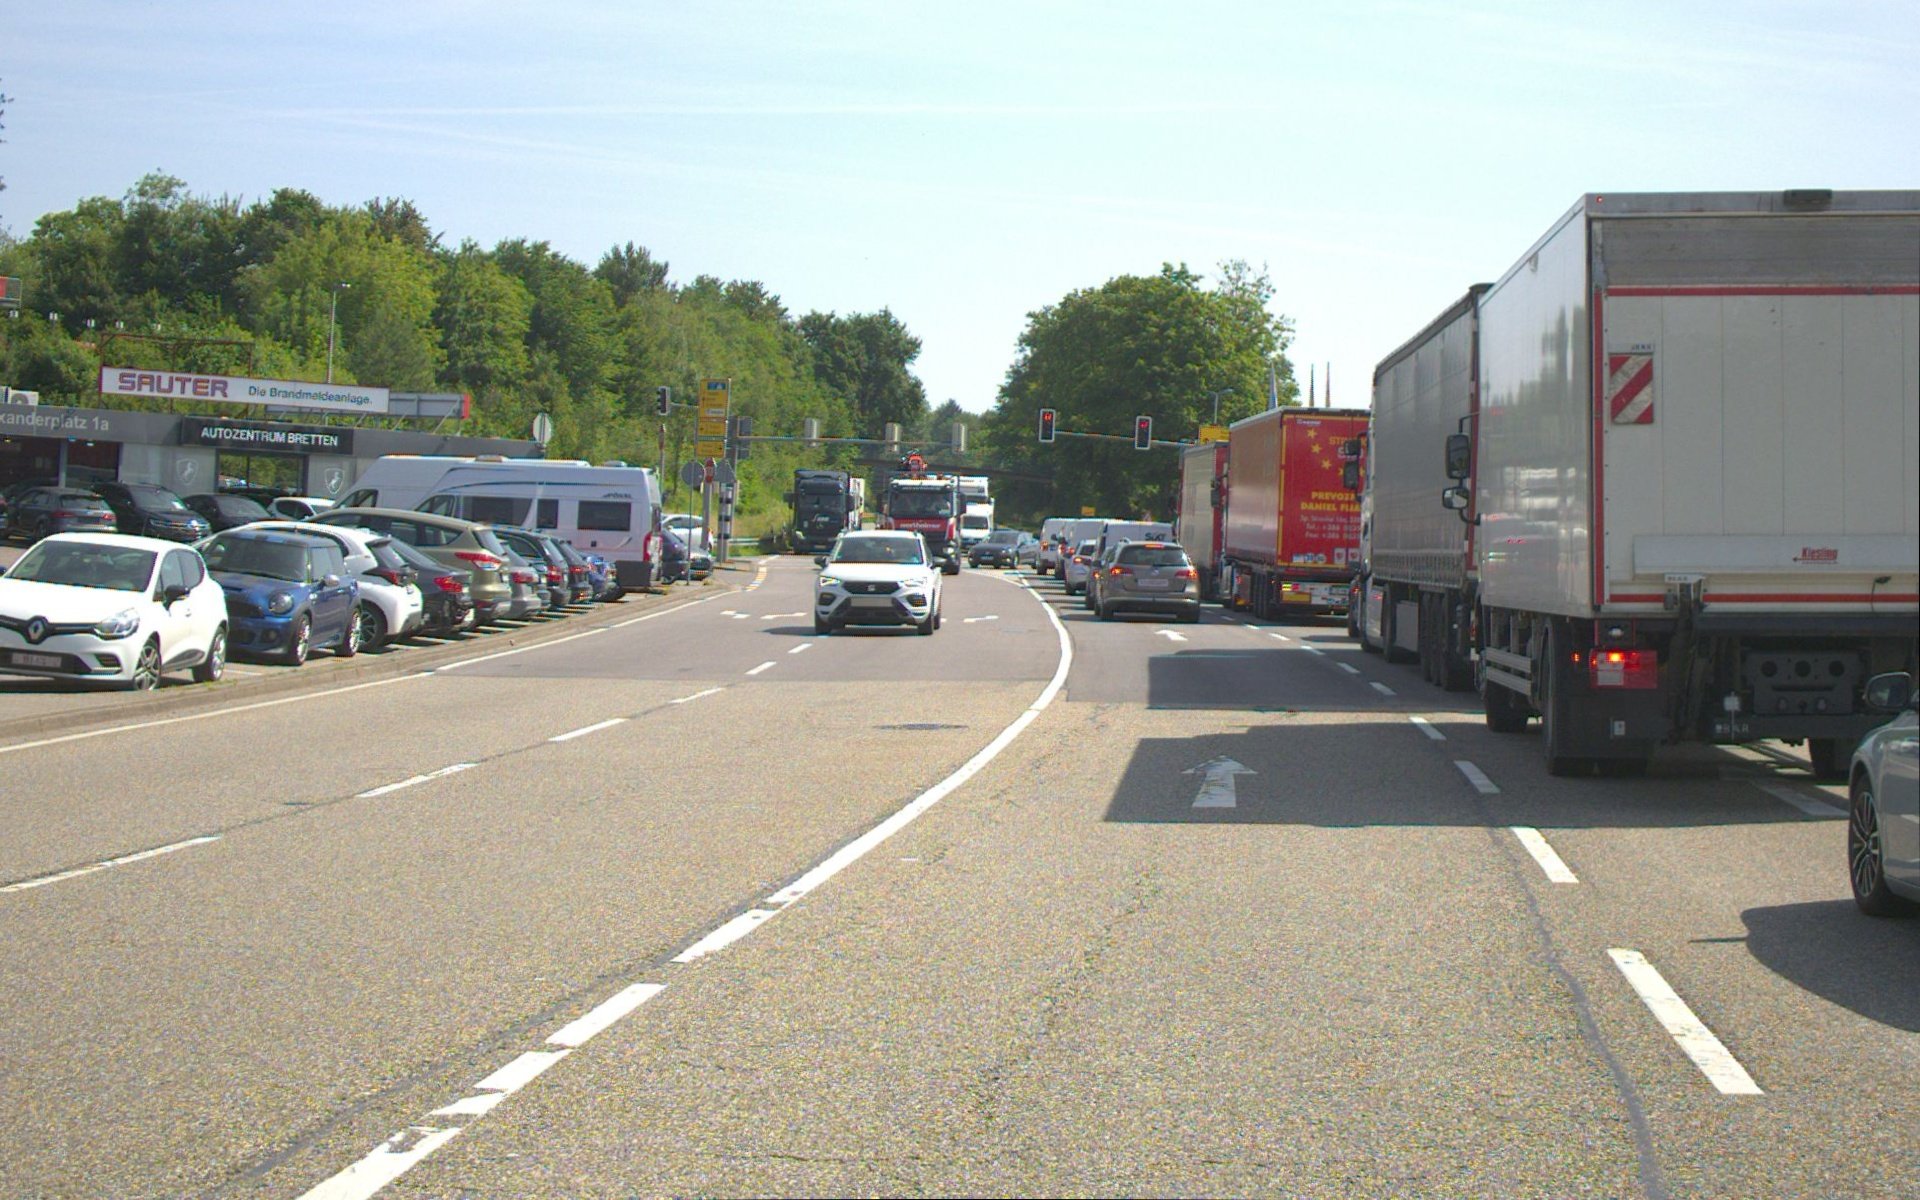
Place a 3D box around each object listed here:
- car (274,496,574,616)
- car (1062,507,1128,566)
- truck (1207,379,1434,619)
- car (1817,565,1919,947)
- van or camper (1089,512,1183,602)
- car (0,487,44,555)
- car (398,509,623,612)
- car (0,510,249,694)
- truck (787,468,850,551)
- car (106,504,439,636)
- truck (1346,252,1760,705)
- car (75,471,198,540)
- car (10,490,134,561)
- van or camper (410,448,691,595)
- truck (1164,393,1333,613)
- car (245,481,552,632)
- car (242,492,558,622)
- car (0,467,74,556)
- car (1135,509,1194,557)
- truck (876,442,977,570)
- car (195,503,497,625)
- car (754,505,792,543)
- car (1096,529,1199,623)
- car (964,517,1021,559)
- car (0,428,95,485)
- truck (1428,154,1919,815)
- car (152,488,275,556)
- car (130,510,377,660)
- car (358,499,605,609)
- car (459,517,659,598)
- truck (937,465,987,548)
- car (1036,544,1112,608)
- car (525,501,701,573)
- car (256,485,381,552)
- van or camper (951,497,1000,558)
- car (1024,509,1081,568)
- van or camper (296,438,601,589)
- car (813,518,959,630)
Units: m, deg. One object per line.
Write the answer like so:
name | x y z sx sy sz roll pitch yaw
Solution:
car | -8.606 -0.715 55.450 4.459 1.479 1.772 6 1 -1
car | 3.725 -1.749 95.219 1.727 1.514 3.312 2 1 1
truck | 7.138 -2.027 70.748 2.957 4.255 16.585 2 1 1
car | 4.505 0.623 12.976 1.735 1.424 4.224 2 1 5
van or camper | 3.922 -0.992 77.168 1.852 1.899 3.785 2 1 0
car | -23.542 -1.907 81.293 3.826 1.583 1.765 3 2 41
car | -7.976 -0.722 61.210 3.707 1.550 1.708 3 3 0
car | -8.281 -0.025 33.142 1.779 1.612 4.000 2 1 3
truck | -6.640 -4.219 160.465 2.812 3.773 6.991 0 1 -3
car | -8.619 -0.393 43.329 3.795 1.520 1.847 2 1 0
truck | 6.609 -1.323 41.279 2.890 4.251 16.708 2 1 3
car | -20.040 -2.308 83.564 1.763 1.583 3.829 1 1 -32
car | -21.179 -1.783 81.882 1.763 1.583 3.829 1 1 -32
van or camper | -8.191 -1.575 69.111 5.245 2.722 2.210 2 1 2
truck | 7.475 -2.541 91.526 3.062 5.202 17.007 2 1 1
car | -7.847 -0.619 48.272 3.886 1.710 1.807 6 1 -1
car | -8.265 -0.653 50.984 4.277 1.479 1.836 6 1 -1
car | -17.678 -1.591 60.233 3.936 1.527 1.770 1 1 -22
car | 6.875 -2.246 115.847 1.727 1.514 3.312 3 0 0
truck | -1.062 -3.188 117.564 2.956 4.194 10.646 0 1 2
car | -8.161 -0.488 45.922 3.707 1.520 1.792 1 1 0
car | -10.366 -4.213 190.429 1.993 2.007 4.001 2 1 -4
car | 3.444 -0.456 62.645 1.790 1.633 3.503 1 1 4
car | 1.245 -2.380 131.821 1.806 1.554 4.386 1 1 5
car | -25.295 -3.920 93.928 1.731 1.445 3.748 2 1 -40
truck | 5.344 -0.766 25.620 2.879 3.798 11.140 2 1 4
car | -18.462 -1.938 84.919 1.763 1.583 3.829 1 1 -32
car | -8.162 -0.195 40.040 1.779 1.489 3.781 6 1 3
car | -8.117 -0.798 58.519 3.844 1.479 1.802 6 1 -1
car | -7.738 -0.829 66.522 3.594 1.475 1.812 1 1 2
truck | 0.147 -4.988 184.041 2.553 4.292 7.596 1 1 1
car | 2.851 -0.609 86.643 1.727 1.514 3.312 2 1 0
car | -7.959 -1.452 79.076 3.816 1.534 1.843 2 1 0
car | -16.111 -2.063 86.241 1.763 1.583 3.829 1 1 -32
van or camper | 0.777 -3.537 169.335 2.224 2.831 5.711 2 1 1
car | 3.178 -2.098 117.852 1.727 1.902 3.312 2 1 4
van or camper | -10.594 -1.812 71.563 5.892 2.863 2.290 2 2 1
car | -1.123 -0.427 53.802 1.935 1.668 4.000 0 1 4
